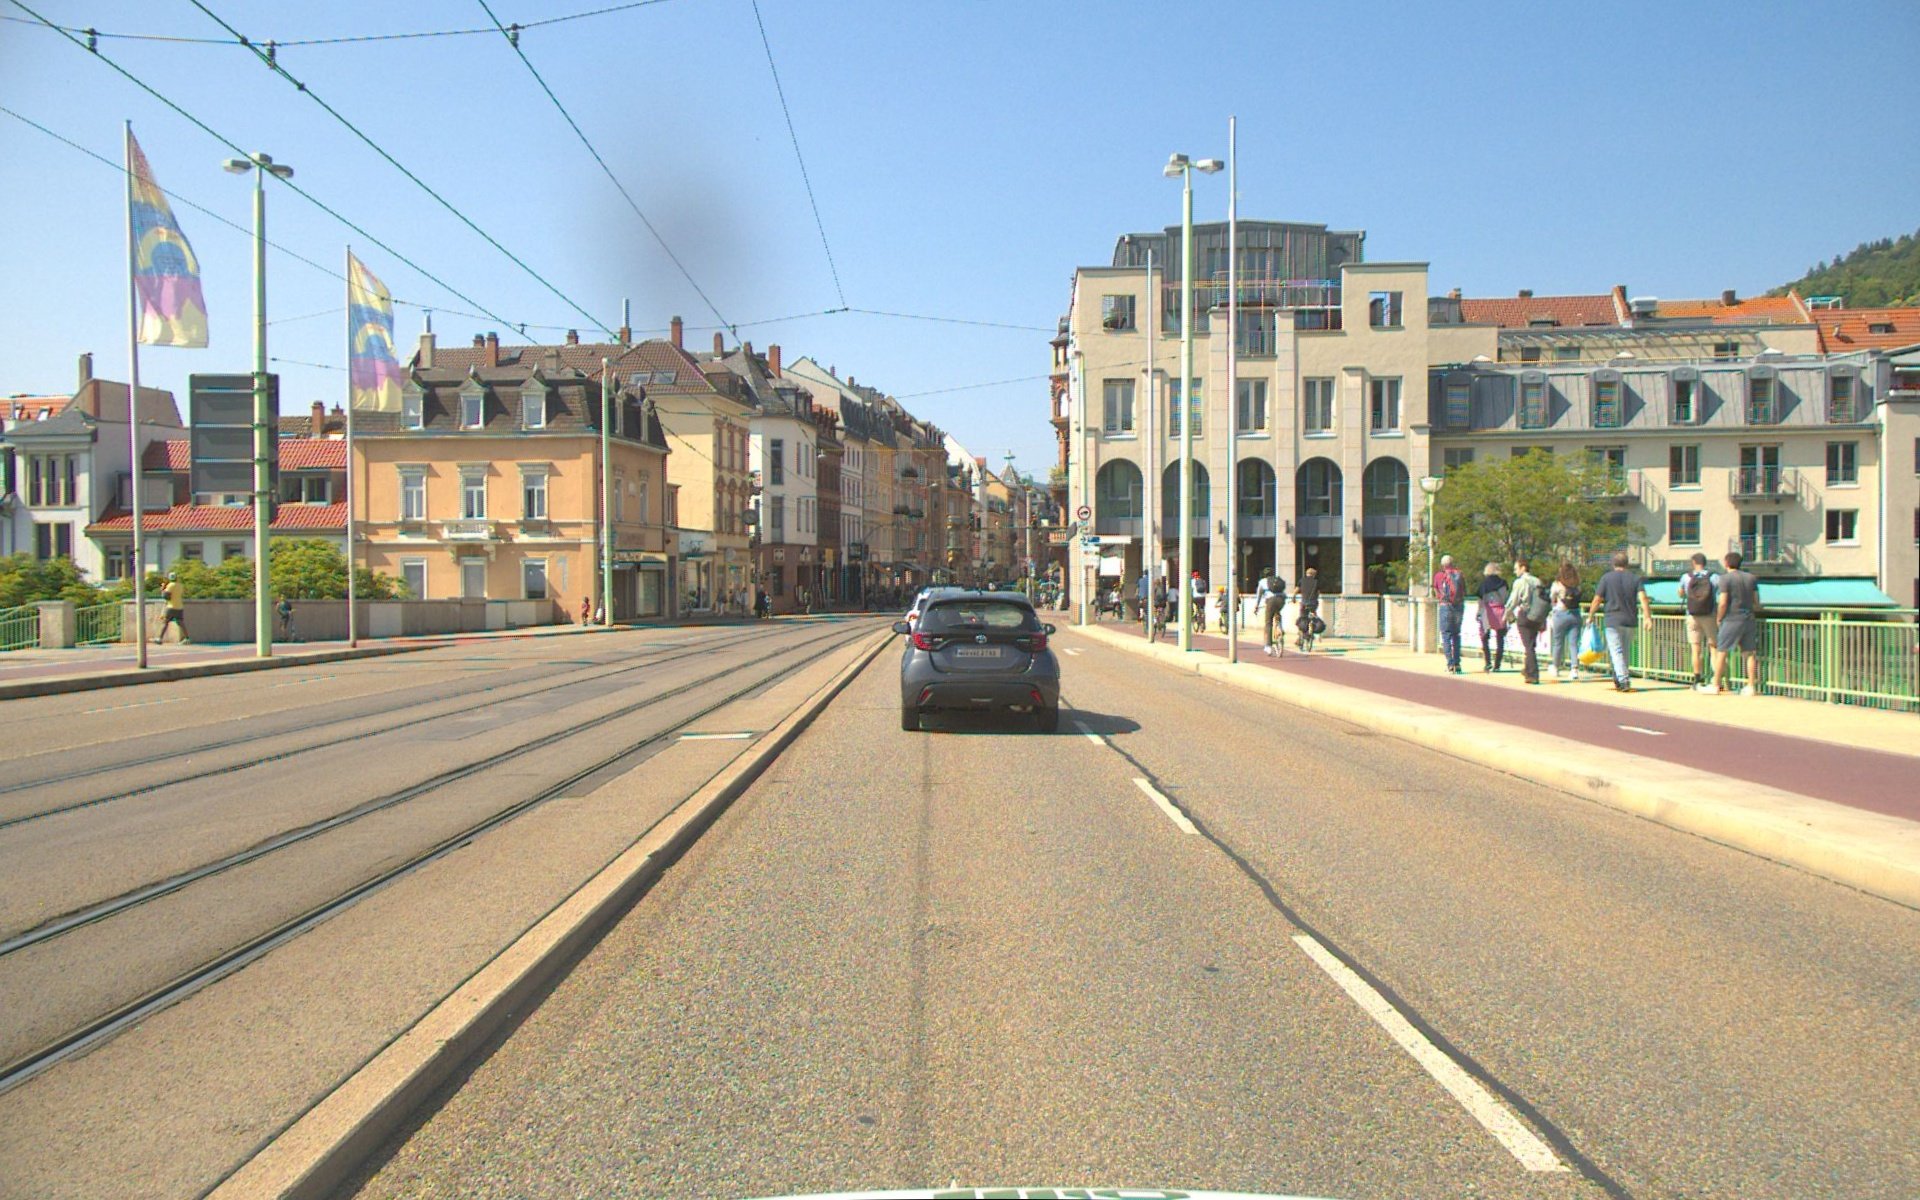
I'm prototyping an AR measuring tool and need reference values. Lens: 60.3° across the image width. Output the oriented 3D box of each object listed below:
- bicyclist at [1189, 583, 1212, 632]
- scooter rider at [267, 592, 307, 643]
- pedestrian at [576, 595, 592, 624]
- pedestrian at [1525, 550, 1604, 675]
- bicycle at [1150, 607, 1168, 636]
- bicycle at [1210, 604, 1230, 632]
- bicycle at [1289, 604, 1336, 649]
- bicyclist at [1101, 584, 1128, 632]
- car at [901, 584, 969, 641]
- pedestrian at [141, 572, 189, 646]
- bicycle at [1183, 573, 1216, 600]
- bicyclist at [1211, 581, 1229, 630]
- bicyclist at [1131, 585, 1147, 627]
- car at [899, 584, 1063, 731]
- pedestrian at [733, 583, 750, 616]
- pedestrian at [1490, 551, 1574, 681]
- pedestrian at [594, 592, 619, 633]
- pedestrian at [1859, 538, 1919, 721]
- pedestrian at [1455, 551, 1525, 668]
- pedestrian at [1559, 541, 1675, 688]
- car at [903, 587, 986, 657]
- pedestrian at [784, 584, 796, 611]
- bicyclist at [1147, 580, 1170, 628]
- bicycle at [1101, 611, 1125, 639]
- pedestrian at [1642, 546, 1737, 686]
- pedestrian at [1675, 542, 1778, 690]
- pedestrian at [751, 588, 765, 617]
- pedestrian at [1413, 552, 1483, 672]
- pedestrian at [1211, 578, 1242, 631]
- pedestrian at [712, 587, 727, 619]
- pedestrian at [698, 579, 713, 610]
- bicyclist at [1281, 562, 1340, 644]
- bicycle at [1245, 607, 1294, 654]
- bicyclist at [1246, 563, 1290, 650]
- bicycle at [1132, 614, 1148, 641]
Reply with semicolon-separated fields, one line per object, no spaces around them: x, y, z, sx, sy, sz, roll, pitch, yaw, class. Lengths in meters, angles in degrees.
7.366;0.228;50.651;0.480;1.492;0.437;-2;0;-40;bicyclist
-18.632;0.487;45.779;0.752;1.338;0.598;4;0;11;scooter rider
-15.824;0.394;69.593;0.403;1.166;0.545;4;0;8;pedestrian
8.894;0.178;24.362;0.724;1.777;1.015;-2;0;-1;pedestrian
5.625;0.609;46.866;0.407;0.779;1.206;-2;0;3;bicycle
7.581;0.530;48.208;0.408;0.779;0.961;-2;0;0;bicycle
7.581;0.564;35.641;0.781;0.898;1.829;-1;0;5;bicycle
8.574;0.414;91.947;1.203;2.572;1.104;4;0;-1;bicyclist
-0.711;0.329;47.578;1.859;1.557;3.999;1;0;-1;car
-19.771;0.226;41.135;0.729;1.812;0.802;-1;0;5;pedestrian
7.325;-0.406;50.672;0.414;0.779;0.948;-2;0;-39;bicycle
7.575;0.164;48.239;0.413;1.407;0.443;-2;0;-1;bicyclist
5.475;0.187;50.656;0.413;1.278;0.443;-2;0;2;bicyclist
0.191;0.584;19.004;1.685;1.499;3.657;1;0;-1;car
-12.335;-0.045;93.465;0.721;1.797;0.787;4;0;0;pedestrian
8.002;0.214;23.192;0.739;1.748;1.073;-2;0;-1;pedestrian
-14.853;0.530;69.523;0.746;1.682;0.712;4;0;5;pedestrian
9.288;0.253;15.632;0.928;1.691;1.082;-2;0;-1;pedestrian
8.469;0.147;26.441;0.724;1.808;1.015;-2;0;-1;pedestrian
8.457;0.179;21.347;0.957;1.808;1.207;-2;0;-1;pedestrian
-0.372;0.484;39.395;1.859;1.557;3.999;1;0;-1;car
-11.457;-0.185;111.198;0.721;1.797;0.787;0;1;-1;pedestrian
5.621;0.109;46.845;0.527;1.339;0.672;-2;0;3;bicyclist
8.484;1.363;91.884;1.089;1.445;3.007;2;0;1;bicycle
9.357;0.196;21.251;0.724;1.748;1.015;-1;0;-1;pedestrian
9.362;0.187;20.223;0.724;1.748;1.015;-2;0;-1;pedestrian
-11.799;0.146;96.470;0.636;1.629;0.566;4;2;0;pedestrian
7.690;0.178;26.097;0.724;1.833;1.015;-2;0;-1;pedestrian
8.648;0.145;53.621;0.724;1.642;1.015;4;0;-1;pedestrian
-12.889;0.142;88.599;0.636;1.629;0.566;4;2;0;pedestrian
-13.994;-0.296;91.045;0.636;1.629;0.566;4;2;0;pedestrian
7.561;0.070;35.714;1.115;1.725;0.925;-1;0;5;bicyclist
6.241;0.612;33.379;0.689;0.898;1.525;-1;0;0;bicycle
6.224;0.132;33.439;0.687;1.725;0.924;-1;0;0;bicyclist
5.496;0.843;50.606;0.407;0.779;0.962;-2;0;2;bicycle
